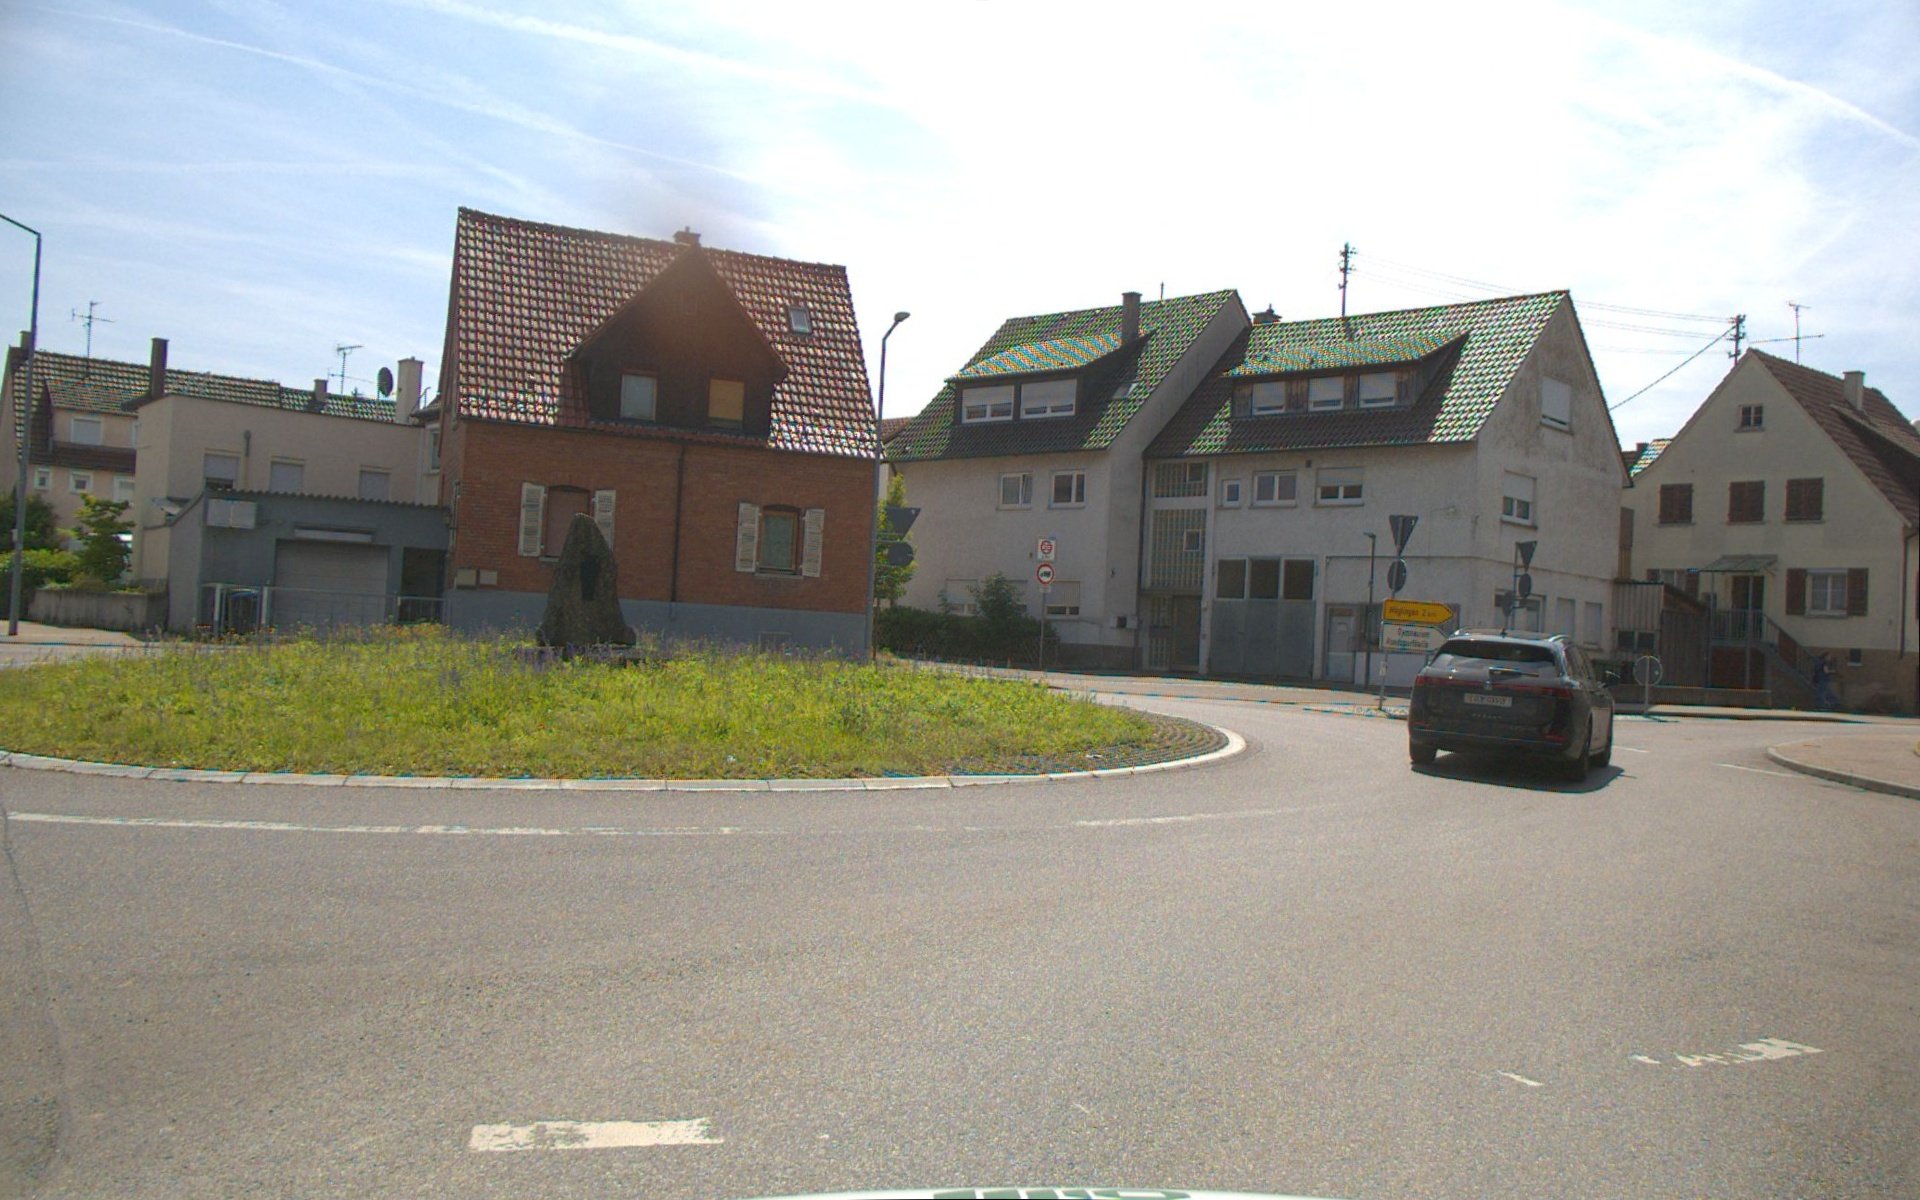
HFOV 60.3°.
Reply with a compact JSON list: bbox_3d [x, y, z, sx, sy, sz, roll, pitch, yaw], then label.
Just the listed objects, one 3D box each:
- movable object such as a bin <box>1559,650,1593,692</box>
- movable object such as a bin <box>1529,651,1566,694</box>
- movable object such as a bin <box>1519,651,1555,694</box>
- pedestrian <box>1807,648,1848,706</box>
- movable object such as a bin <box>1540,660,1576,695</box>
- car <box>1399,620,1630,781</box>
[{"bbox_3d":[17.012,1.958,45.688,0.673,1.101,0.621,2,-1,43],"label":"movable object such as a bin"},{"bbox_3d":[15.698,1.925,44.194,0.673,1.105,0.694,2,-1,42],"label":"movable object such as a bin"},{"bbox_3d":[15.242,1.916,43.667,0.673,1.105,0.641,2,-1,43],"label":"movable object such as a bin"},{"bbox_3d":[24.380,2.161,46.483,0.619,1.601,0.772,3,-1,-30],"label":"pedestrian"},{"bbox_3d":[16.187,2.090,44.740,0.673,0.912,0.694,2,-1,42],"label":"movable object such as a bin"},{"bbox_3d":[6.204,1.010,18.156,1.805,1.445,4.678,2,0,26],"label":"car"}]
